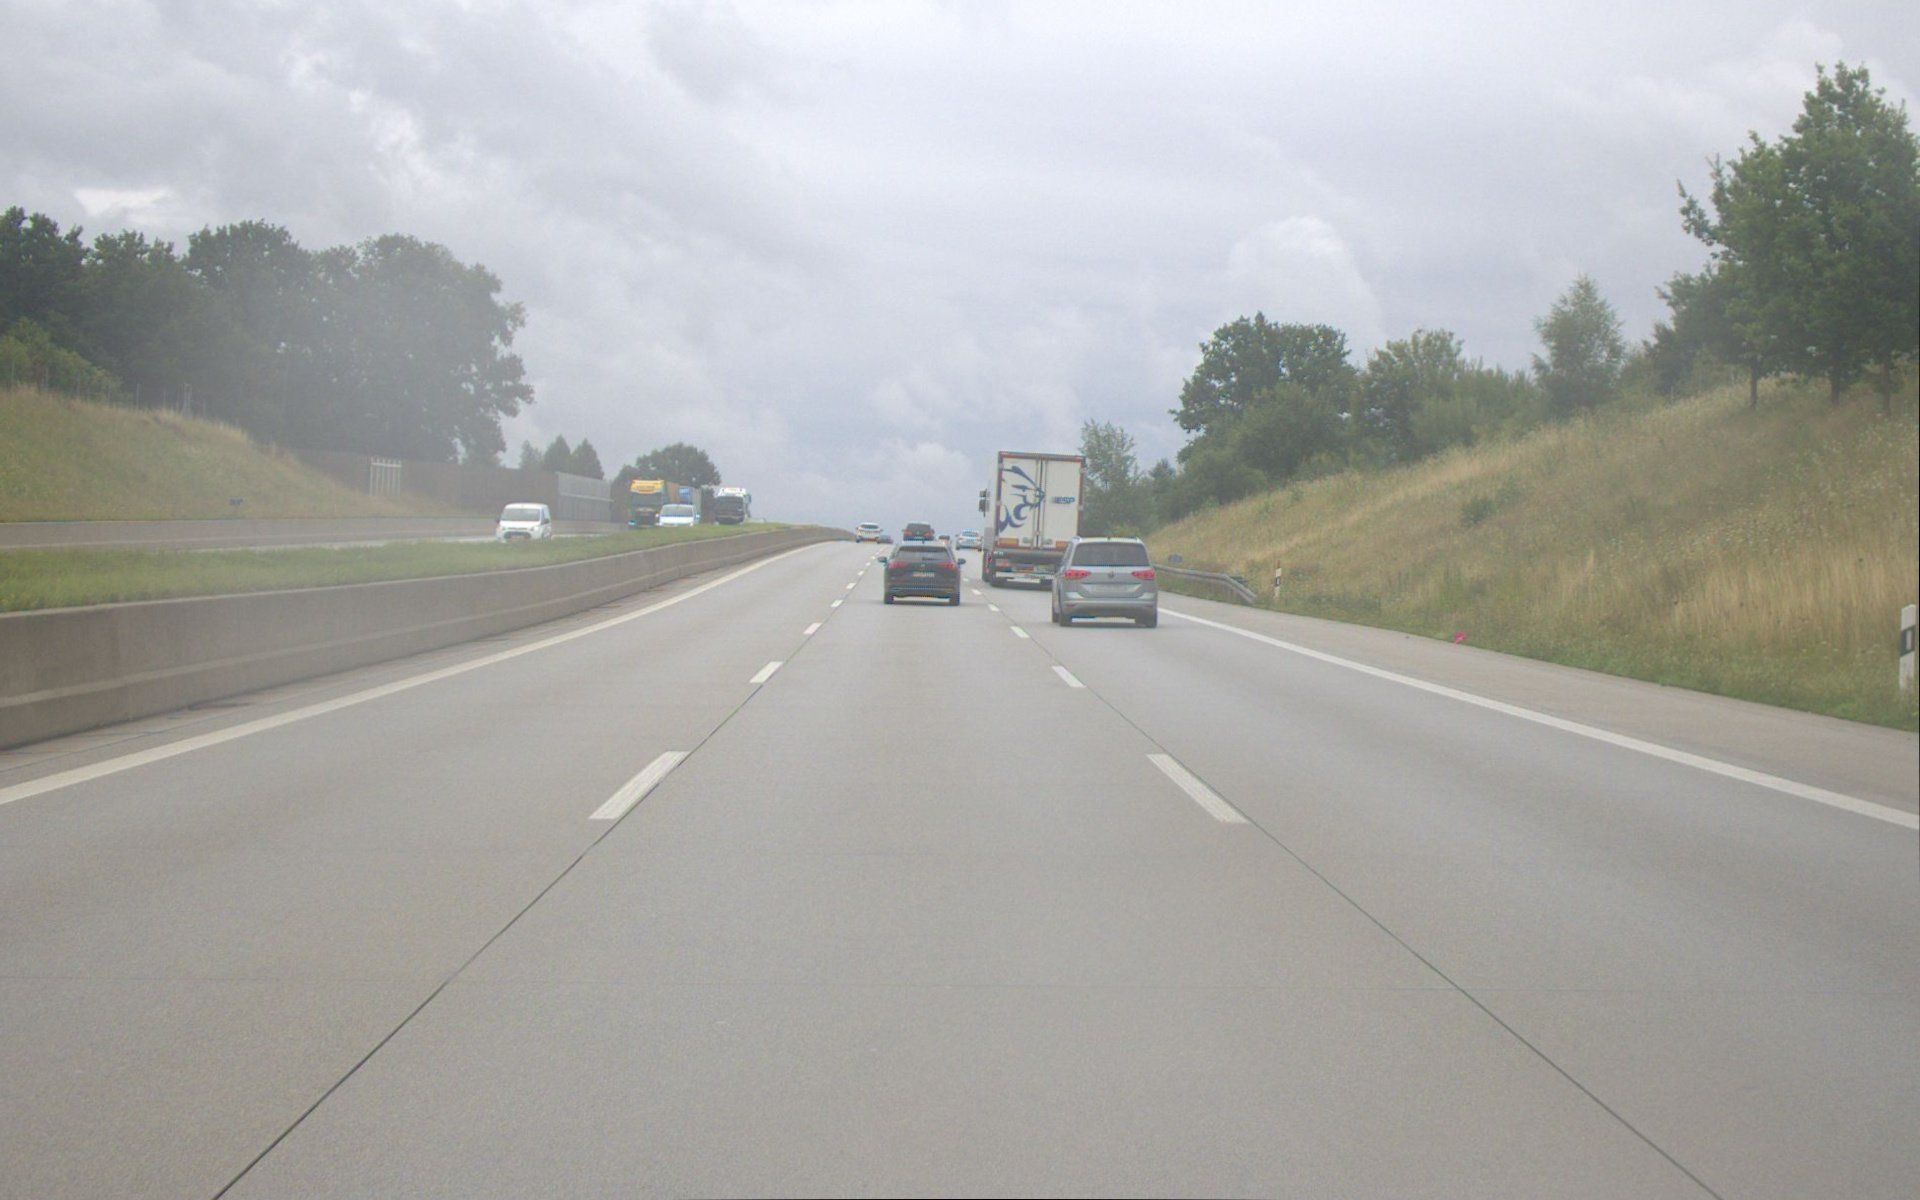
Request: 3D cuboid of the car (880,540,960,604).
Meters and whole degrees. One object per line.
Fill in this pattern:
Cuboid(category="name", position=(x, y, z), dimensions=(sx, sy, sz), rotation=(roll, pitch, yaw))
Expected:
Cuboid(category="car", position=(-0.941, -0.627, 79.112), dimensions=(1.752, 1.393, 4.484), rotation=(1, 0, -1))

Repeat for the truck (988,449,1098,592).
Cuboid(category="truck", position=(2.472, -2.360, 105.172), dimensions=(3.017, 4.166, 8.354), rotation=(1, 0, 0))

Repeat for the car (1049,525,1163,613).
Cuboid(category="car", position=(2.644, -0.578, 62.963), dimensions=(1.993, 1.525, 4.000), rotation=(1, 1, 2))

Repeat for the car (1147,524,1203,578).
Cuboid(category="car", position=(8.321, -1.894, 133.403), dimensions=(1.993, 2.007, 4.000), rotation=(1, 0, 2))

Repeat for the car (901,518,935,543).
Cuboid(category="car", position=(-2.557, -4.290, 212.287), dimensions=(1.935, 1.370, 4.594), rotation=(1, -1, 1))

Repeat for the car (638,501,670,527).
Cuboid(category="car", position=(-22.212, -6.246, 249.450), dimensions=(1.993, 1.831, 4.000), rotation=(1, 1, 0))

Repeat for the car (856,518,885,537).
Cuboid(category="car", position=(-6.731, -5.438, 258.734), dimensions=(1.947, 1.351, 4.259), rotation=(1, 1, 1))

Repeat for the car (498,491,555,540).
Cuboid(category="car", position=(-17.017, -3.313, 134.976), dimensions=(1.762, 1.853, 4.000), rotation=(1, 1, -1))

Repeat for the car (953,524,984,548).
Cuboid(category="car", position=(0.608, -4.498, 241.595), dimensions=(1.993, 1.634, 4.000), rotation=(1, 0, 2))
